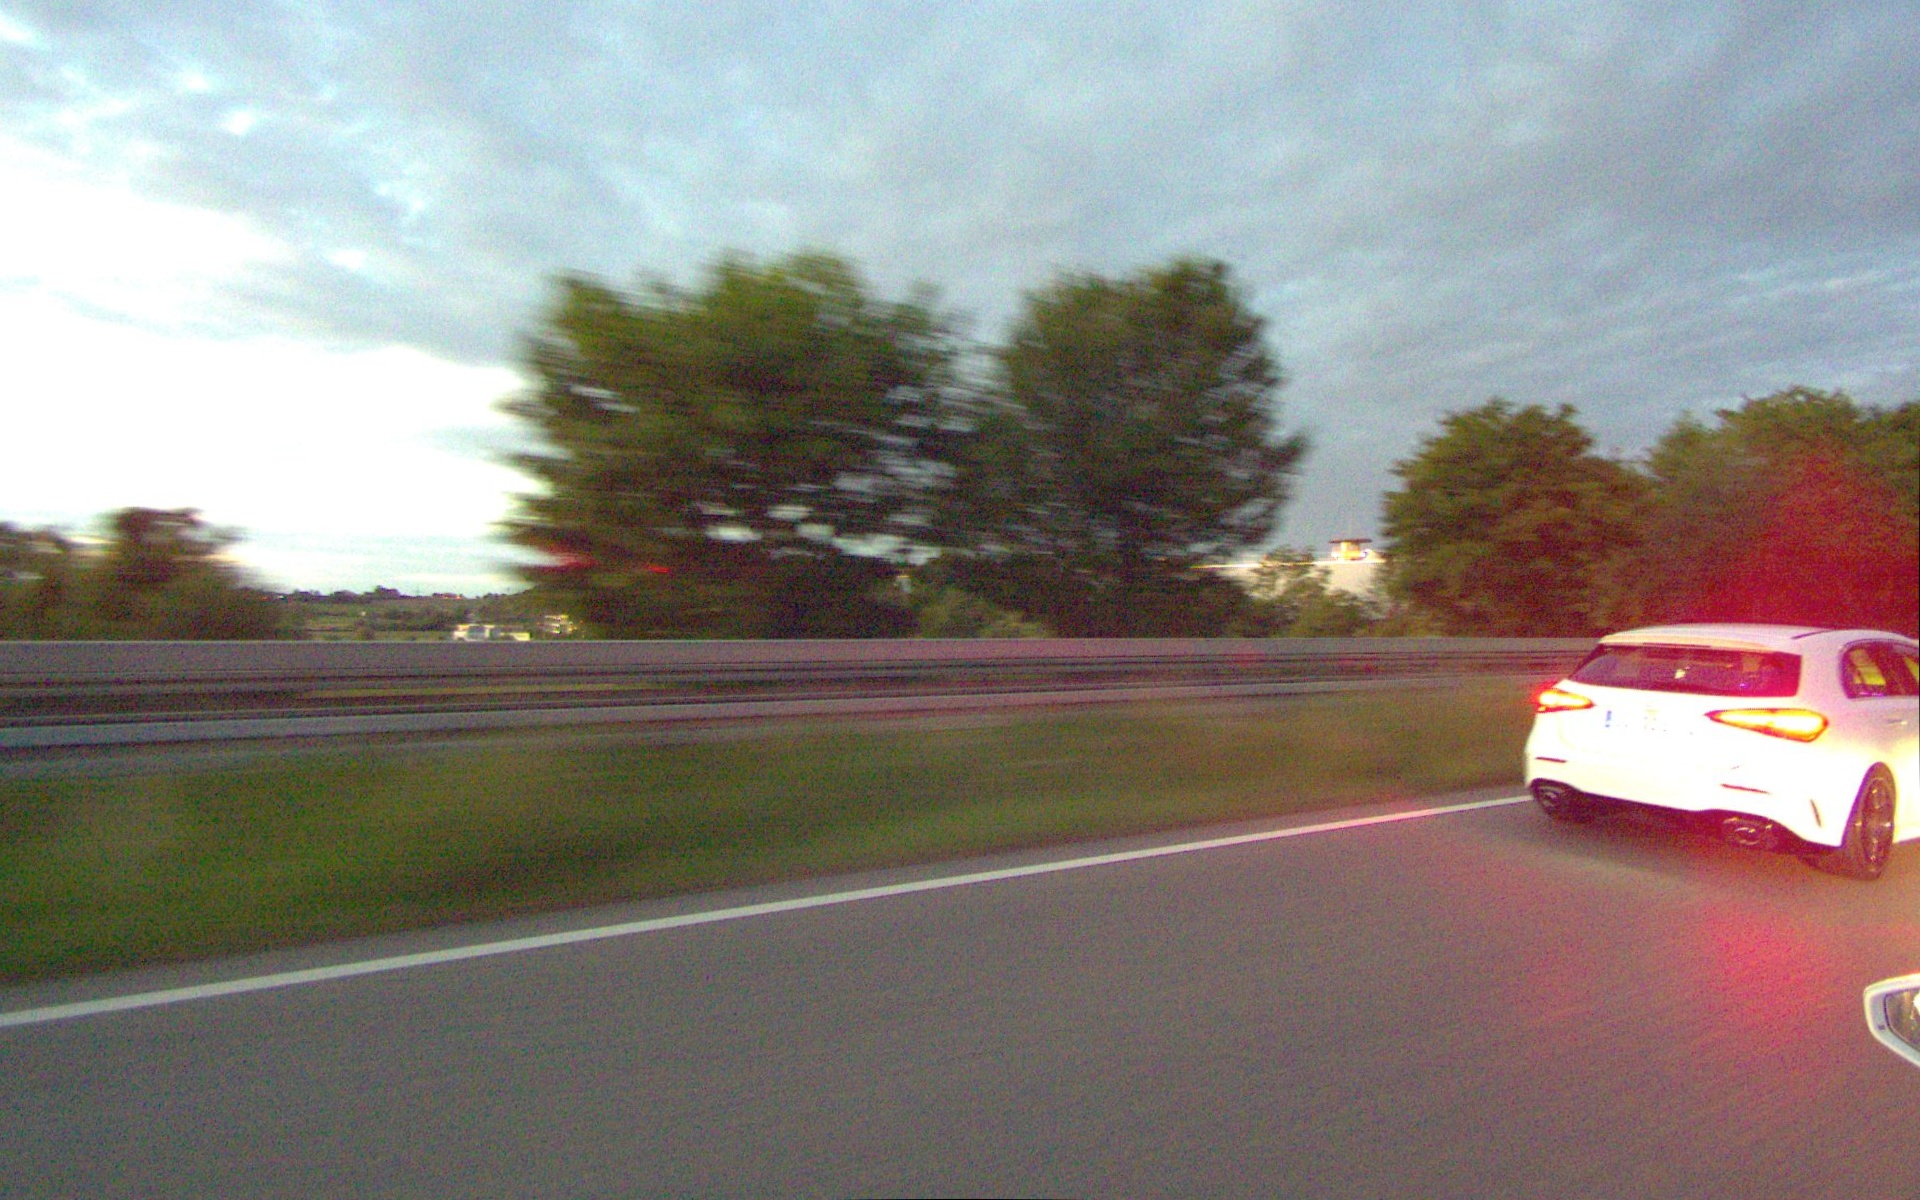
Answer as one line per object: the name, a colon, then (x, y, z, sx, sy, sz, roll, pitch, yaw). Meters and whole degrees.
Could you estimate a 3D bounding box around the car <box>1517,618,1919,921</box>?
car: (5.974, 0.935, 7.002, 4.528, 1.510, 1.633, 2, 0, -31)
